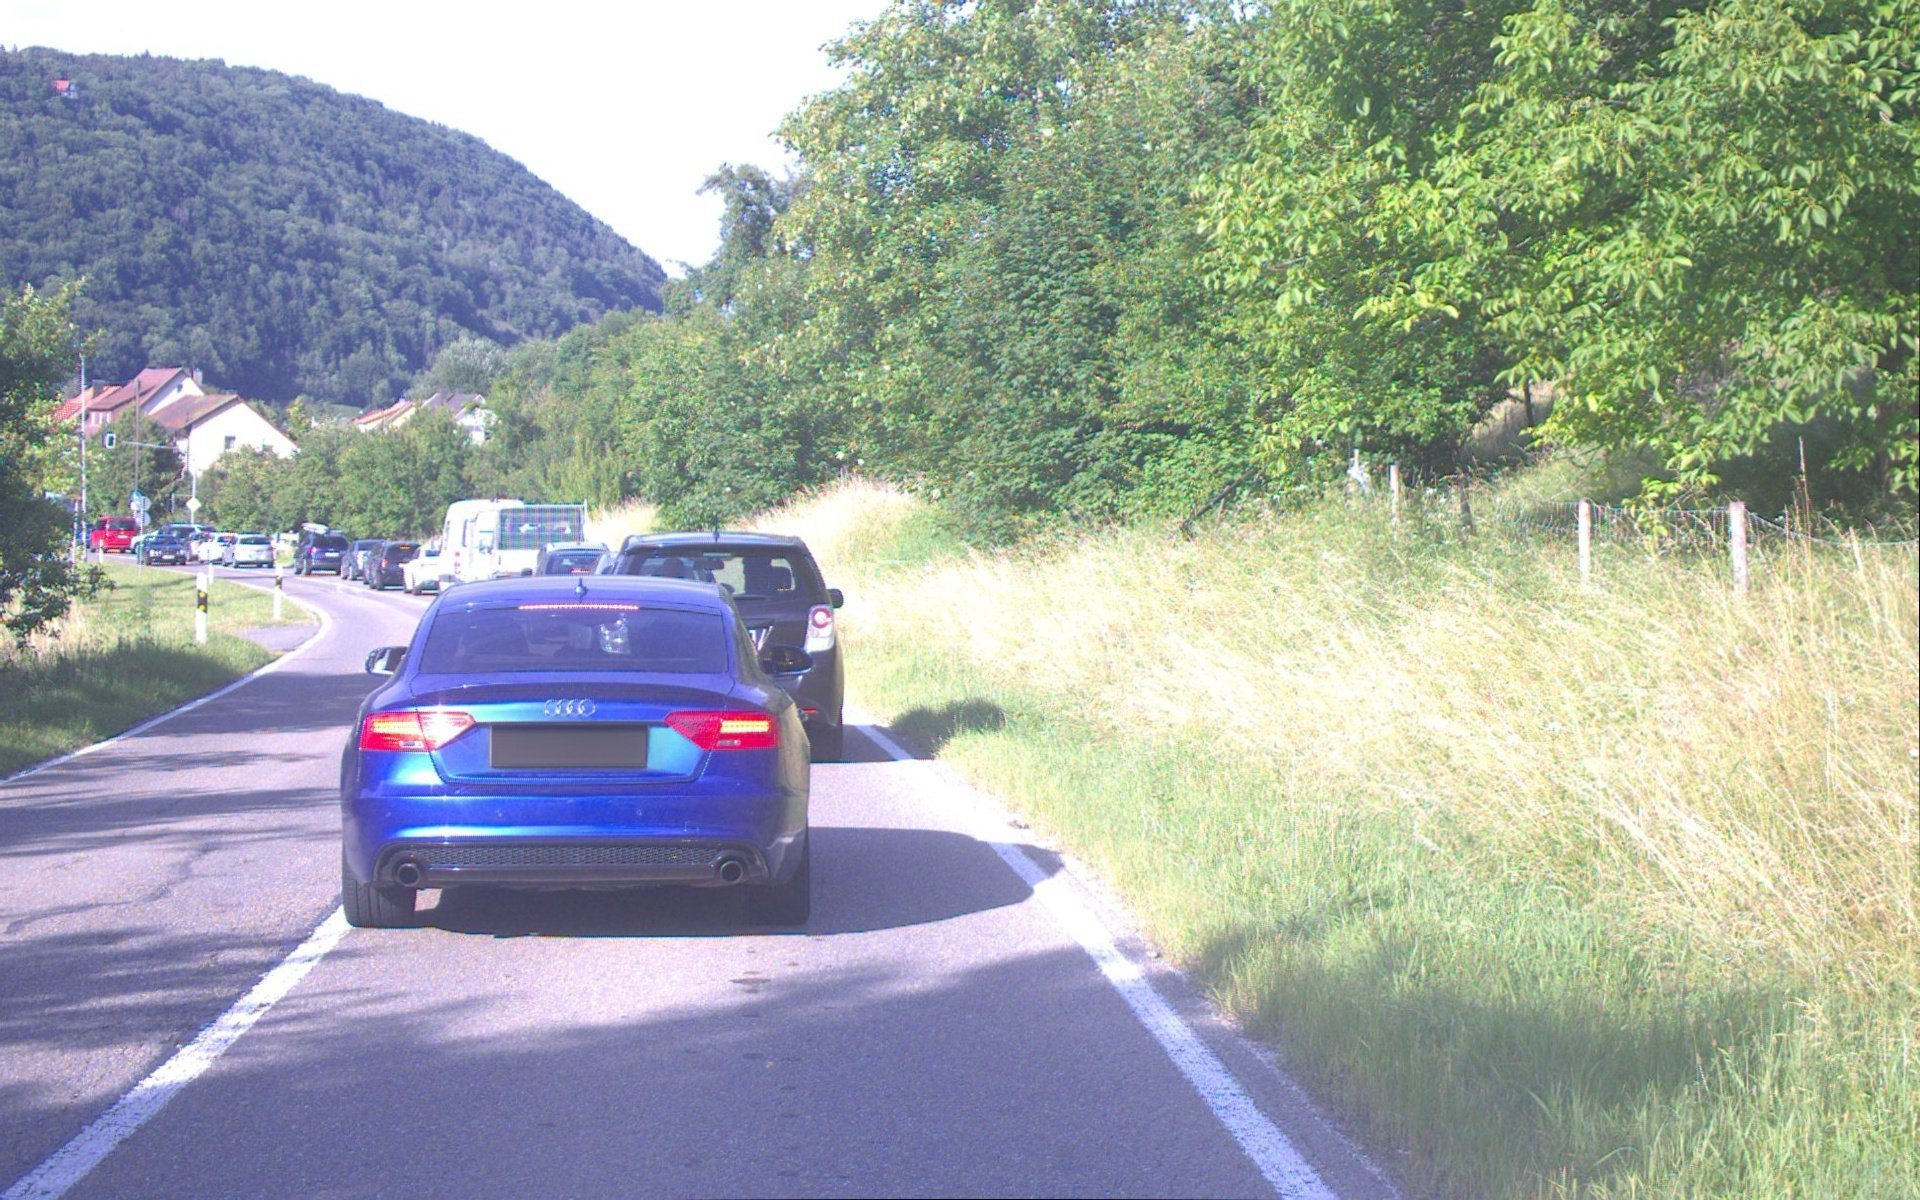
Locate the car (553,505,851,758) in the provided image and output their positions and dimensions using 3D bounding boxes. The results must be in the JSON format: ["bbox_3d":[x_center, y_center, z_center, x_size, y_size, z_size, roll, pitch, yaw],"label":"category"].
[{"bbox_3d":[-1.825,0.197,25.262,1.993,1.696,4.000,1,0,-2],"label":"car"}]

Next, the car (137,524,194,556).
[{"bbox_3d":[-35.561,-2.670,153.774,1.993,1.371,4.001,0,0,-20],"label":"car"}]

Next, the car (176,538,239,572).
[{"bbox_3d":[-34.400,-2.054,157.052,1.993,1.477,4.001,0,0,-24],"label":"car"}]

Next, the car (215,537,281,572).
[{"bbox_3d":[-30.940,-1.955,149.343,1.993,1.477,4.001,0,0,-24],"label":"car"}]

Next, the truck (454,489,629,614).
[{"bbox_3d":[-9.680,-1.120,78.599,2.863,2.656,10.396,1,1,-13],"label":"truck"}]

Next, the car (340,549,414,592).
[{"bbox_3d":[-20.623,-1.045,121.486,1.993,1.477,4.001,0,0,-19],"label":"car"}]

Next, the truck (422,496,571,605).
[{"bbox_3d":[-12.212,-1.304,89.844,2.863,2.656,10.648,1,1,-13],"label":"truck"}]

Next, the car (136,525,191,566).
[{"bbox_3d":[-39.807,-2.729,171.799,1.993,2.007,4.001,0,0,-23],"label":"car"}]

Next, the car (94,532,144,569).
[{"bbox_3d":[-45.735,-2.688,186.924,1.993,2.007,4.001,0,0,-23],"label":"car"}]

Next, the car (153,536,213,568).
[{"bbox_3d":[-36.930,-2.261,163.337,1.993,1.477,4.001,0,0,-24],"label":"car"}]

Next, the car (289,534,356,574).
[{"bbox_3d":[-24.480,-1.754,131.905,1.993,1.477,4.001,0,0,-19],"label":"car"}]

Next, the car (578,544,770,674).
[{"bbox_3d":[-3.197,0.081,39.070,1.993,1.382,4.000,1,0,-2],"label":"car"}]

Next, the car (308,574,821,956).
[{"bbox_3d":[-1.518,0.585,14.509,1.793,1.355,4.000,0,1,-1],"label":"car"}]

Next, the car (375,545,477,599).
[{"bbox_3d":[-15.273,-0.801,98.195,1.993,1.477,4.001,0,0,-22],"label":"car"}]

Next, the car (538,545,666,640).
[{"bbox_3d":[-5.886,-0.132,56.141,1.993,1.477,4.001,1,0,-7],"label":"car"}]

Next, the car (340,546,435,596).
[{"bbox_3d":[-17.560,-0.889,105.281,1.993,1.477,4.001,0,0,-22],"label":"car"}]
